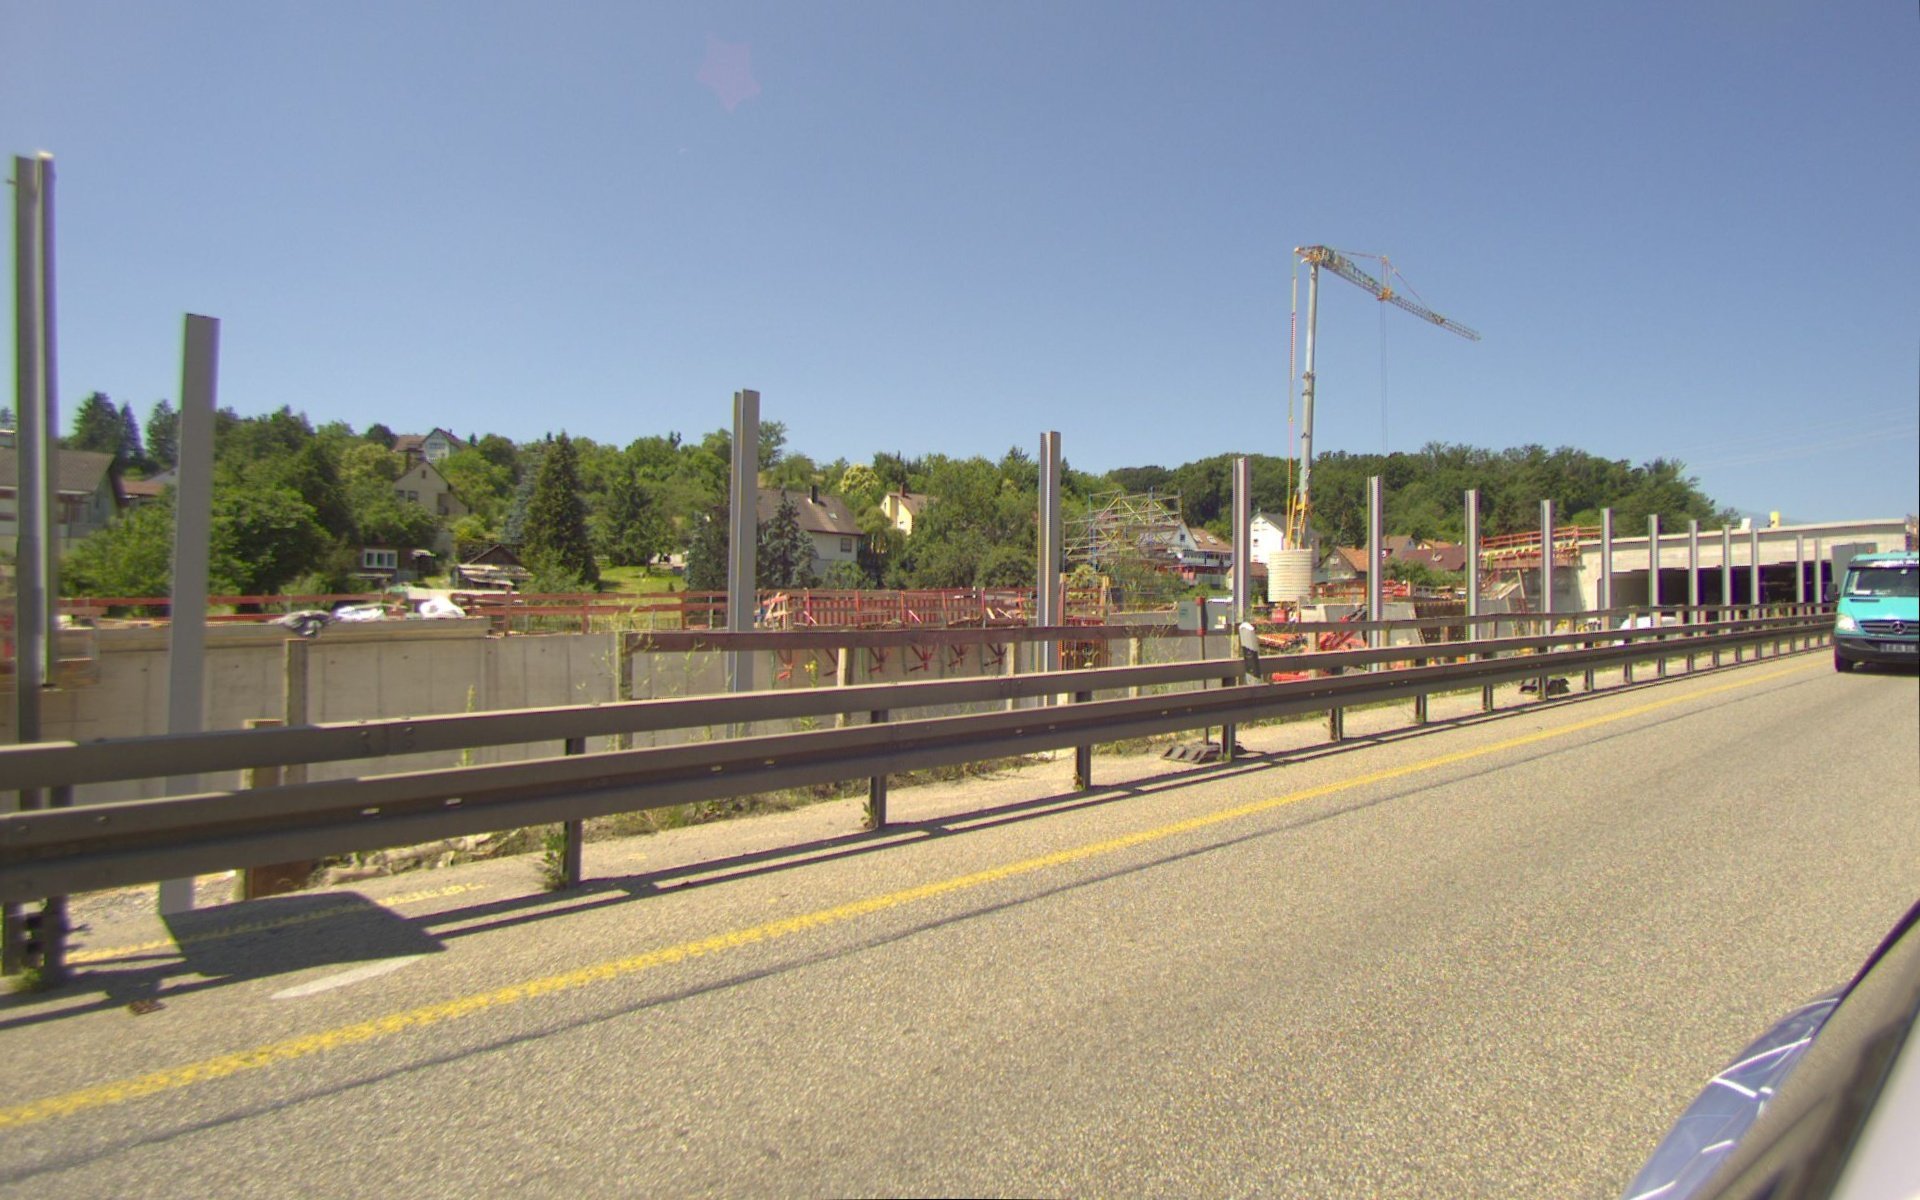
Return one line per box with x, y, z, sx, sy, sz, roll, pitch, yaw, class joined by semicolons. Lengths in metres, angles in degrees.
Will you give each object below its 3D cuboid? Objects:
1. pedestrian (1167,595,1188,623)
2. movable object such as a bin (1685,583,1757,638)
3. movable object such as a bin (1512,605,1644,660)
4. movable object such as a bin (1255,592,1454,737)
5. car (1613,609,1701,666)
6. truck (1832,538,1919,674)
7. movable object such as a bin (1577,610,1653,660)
15.812;0.630;73.458;0.955;2.012;1.140;-2;1;-37;pedestrian
62.284;0.767;82.725;8.999;4.113;2.958;-2;1;-41;movable object such as a bin
43.618;2.364;71.715;3.425;2.941;7.159;-1;-8;-18;movable object such as a bin
15.640;2.217;39.604;9.490;4.802;3.232;-2;1;-41;movable object such as a bin
40.160;2.077;58.244;6.894;2.891;2.150;-2;1;-38;car
19.605;-0.008;20.292;7.304;2.386;2.138;-2;1;-41;truck
40.068;2.089;61.866;5.399;2.710;2.151;-2;1;-37;movable object such as a bin
